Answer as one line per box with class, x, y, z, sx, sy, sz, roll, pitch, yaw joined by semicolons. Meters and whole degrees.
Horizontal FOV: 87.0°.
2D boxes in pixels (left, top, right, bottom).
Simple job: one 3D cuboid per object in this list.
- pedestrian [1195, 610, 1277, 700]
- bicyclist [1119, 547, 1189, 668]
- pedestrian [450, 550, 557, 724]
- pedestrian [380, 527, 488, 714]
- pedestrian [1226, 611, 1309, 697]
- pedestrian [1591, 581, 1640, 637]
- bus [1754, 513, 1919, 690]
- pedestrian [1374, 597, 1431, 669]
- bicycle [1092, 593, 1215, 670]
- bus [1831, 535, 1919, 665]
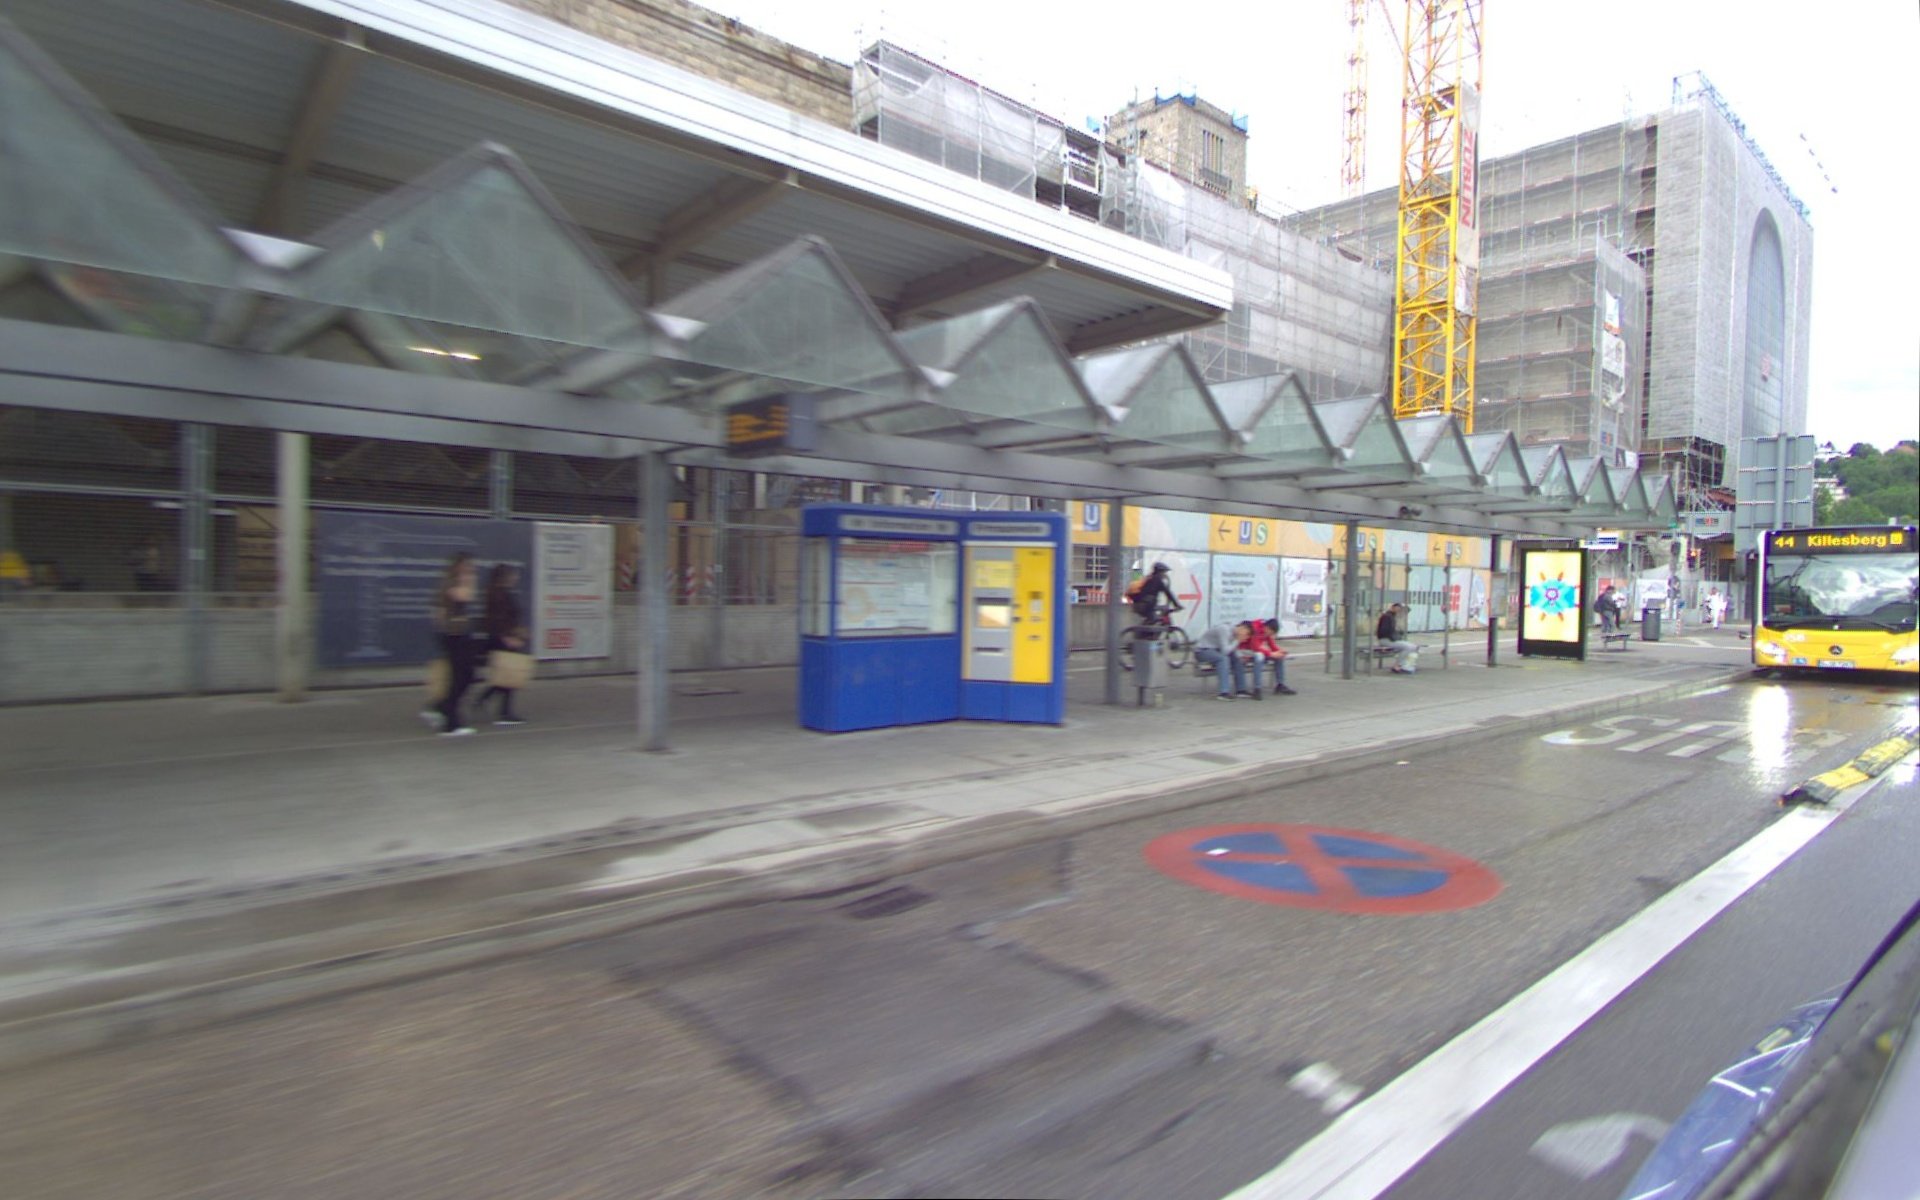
pedestrian;3.567;0.692;13.083;0.696;1.078;0.729;1;1;-41
bicyclist;3.319;0.111;17.318;0.804;2.006;0.824;1;1;-43
pedestrian;-4.540;0.344;10.053;0.731;1.627;0.908;1;-1;-40
pedestrian;-4.831;0.166;9.290;0.717;1.627;0.708;1;2;-41
pedestrian;4.125;0.704;13.567;0.794;1.078;0.729;1;2;-41
pedestrian;19.932;0.266;30.782;0.811;1.655;0.911;1;1;-14
bus;19.568;-0.006;21.500;8.838;3.104;2.759;0;1;-42
pedestrian;7.675;0.555;17.548;0.654;1.201;0.666;1;1;-41
bicycle;3.354;0.511;17.361;2.365;1.212;0.816;0;2;-43
bus;26.188;-0.025;27.452;8.923;3.107;2.759;0;1;-42
